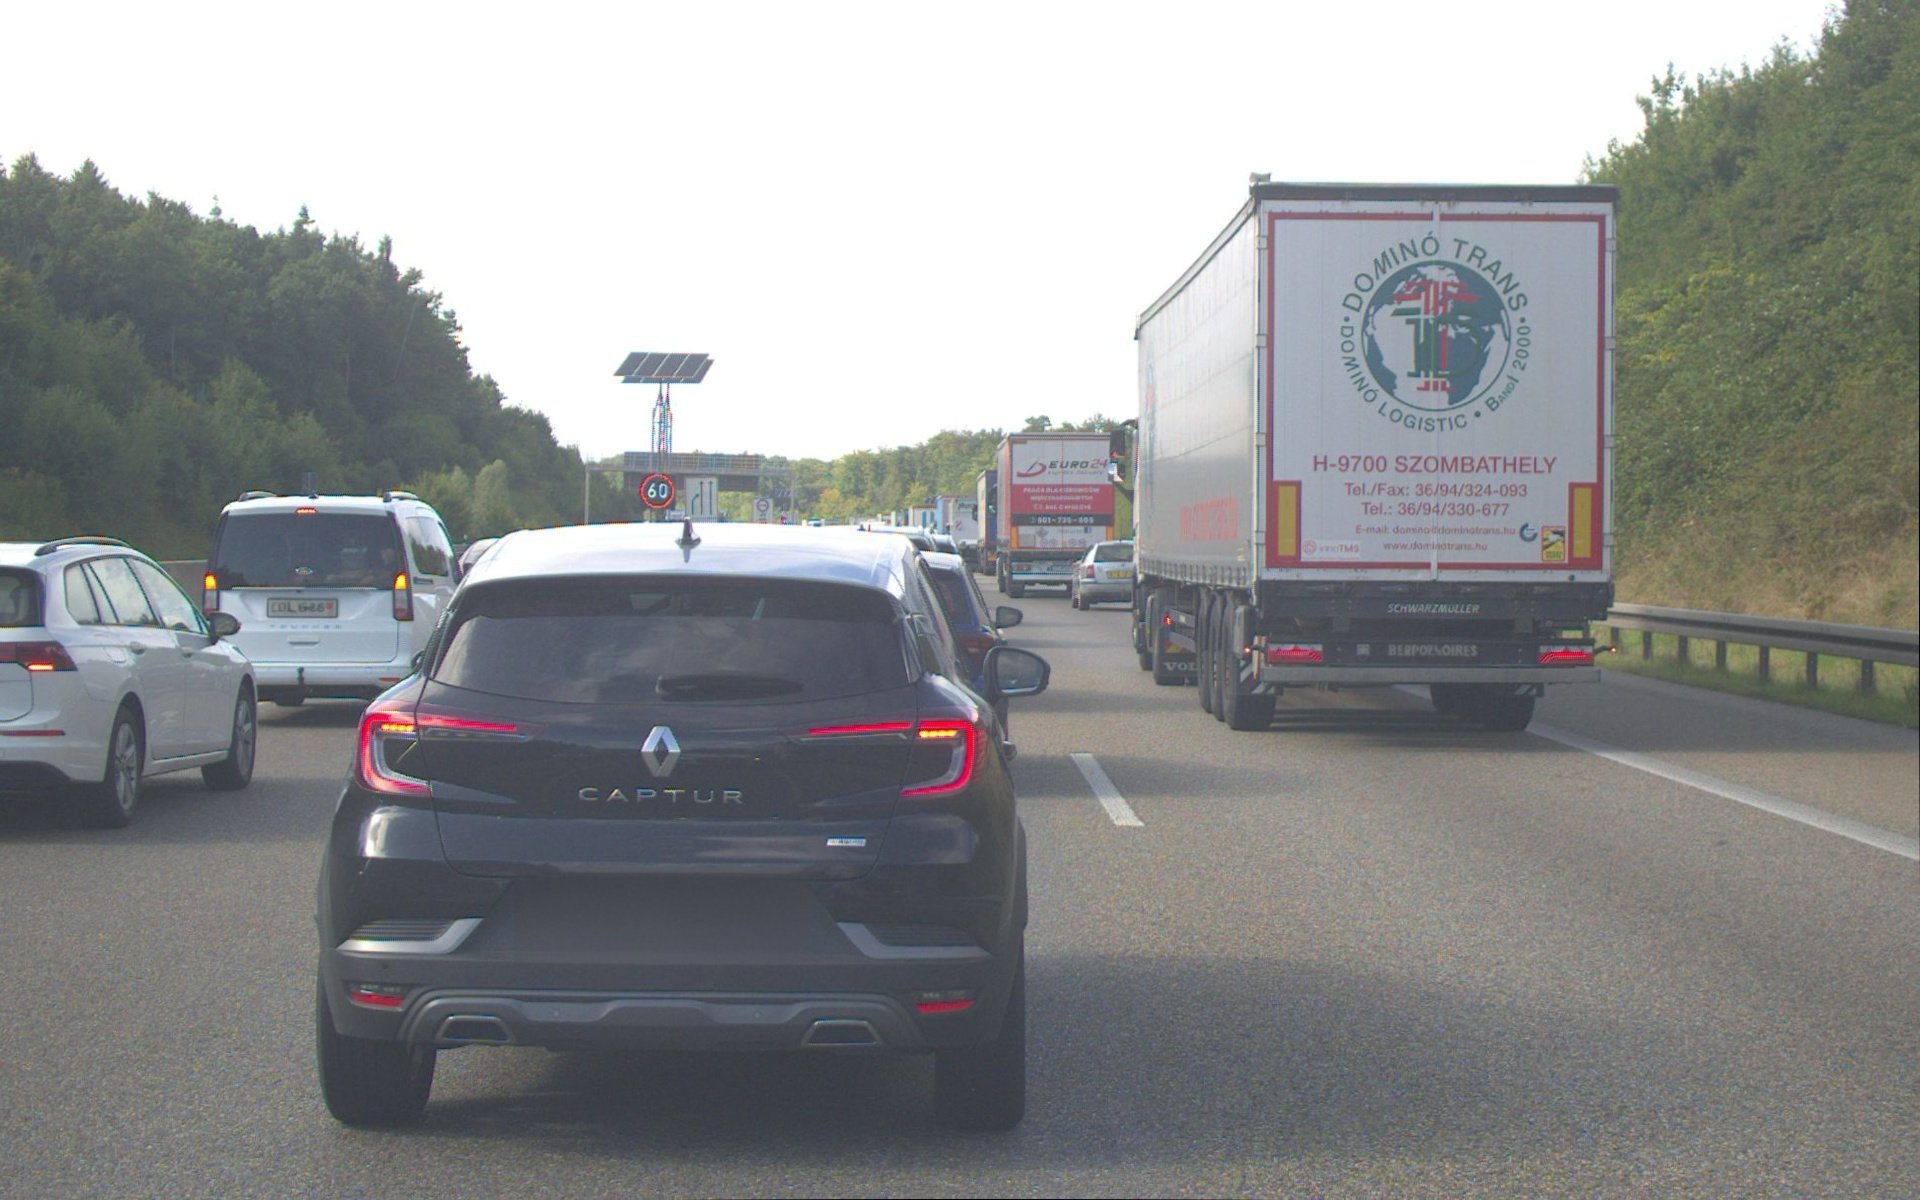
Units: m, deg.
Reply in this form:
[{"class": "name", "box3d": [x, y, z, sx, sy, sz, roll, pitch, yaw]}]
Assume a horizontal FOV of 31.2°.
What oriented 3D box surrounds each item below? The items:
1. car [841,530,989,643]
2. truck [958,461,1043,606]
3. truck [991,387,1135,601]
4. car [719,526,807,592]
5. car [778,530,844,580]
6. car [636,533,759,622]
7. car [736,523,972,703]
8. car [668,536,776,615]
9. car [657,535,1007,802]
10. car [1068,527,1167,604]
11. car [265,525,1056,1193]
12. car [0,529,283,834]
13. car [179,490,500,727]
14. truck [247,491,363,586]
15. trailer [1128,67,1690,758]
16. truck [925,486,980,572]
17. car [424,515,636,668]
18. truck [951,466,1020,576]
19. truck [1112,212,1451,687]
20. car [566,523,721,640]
[{"class": "car", "box3d": [-0.596, -0.210, 48.580, 1.993, 1.509, 4.000, 1, 1, 0]}, {"class": "truck", "box3d": [1.595, -2.591, 137.007, 3.166, 5.486, 12.737, 1, 1, 1]}, {"class": "truck", "box3d": [2.522, -2.590, 88.054, 3.365, 5.027, 12.737, 1, 1, 1]}, {"class": "car", "box3d": [-5.005, -1.065, 87.771, 1.993, 1.607, 4.000, 1, 1, 0]}, {"class": "car", "box3d": [-4.926, -1.518, 113.952, 1.993, 1.607, 4.000, 1, 1, 0]}, {"class": "car", "box3d": [-4.979, -0.440, 65.593, 1.993, 1.607, 4.000, 1, 1, 0]}, {"class": "car", "box3d": [-0.899, 0.088, 31.417, 1.993, 1.509, 4.000, 1, 1, 0]}, {"class": "car", "box3d": [-5.033, -0.526, 73.128, 1.993, 1.607, 4.000, 1, 1, 0]}, {"class": "car", "box3d": [-0.722, 0.370, 21.712, 1.993, 1.509, 4.000, 1, 1, 0]}, {"class": "car", "box3d": [3.265, -0.724, 71.774, 1.804, 1.527, 3.926, 1, 1, -1]}, {"class": "car", "box3d": [-0.647, 0.569, 10.008, 1.805, 1.547, 4.000, 0, 1, 2]}, {"class": "car", "box3d": [-5.021, 0.358, 18.572, 1.804, 1.456, 4.308, 0, 1, 1]}, {"class": "car", "box3d": [-5.019, 0.040, 28.391, 1.911, 1.783, 4.418, 1, 1, -1]}, {"class": "truck", "box3d": [-20.314, -1.910, 106.915, 2.422, 2.845, 6.431, 1, 1, 0]}, {"class": "trailer", "box3d": [3.361, -1.403, 29.909, 3.002, 4.645, 13.291, 1, 1, 0]}, {"class": "truck", "box3d": [-0.395, -4.308, 211.976, 3.166, 5.142, 12.737, 1, 1, 1]}, {"class": "car", "box3d": [-4.829, -0.113, 39.084, 1.855, 1.635, 3.925, 1, 1, 1]}, {"class": "truck", "box3d": [1.396, -4.027, 179.032, 3.167, 5.486, 12.737, 1, 1, 2]}, {"class": "truck", "box3d": [3.294, -1.542, 36.791, 2.997, 4.651, 5.940, 0, 1, 0]}, {"class": "car", "box3d": [-4.876, -0.302, 53.410, 1.993, 1.716, 4.000, 1, 1, 0]}]
